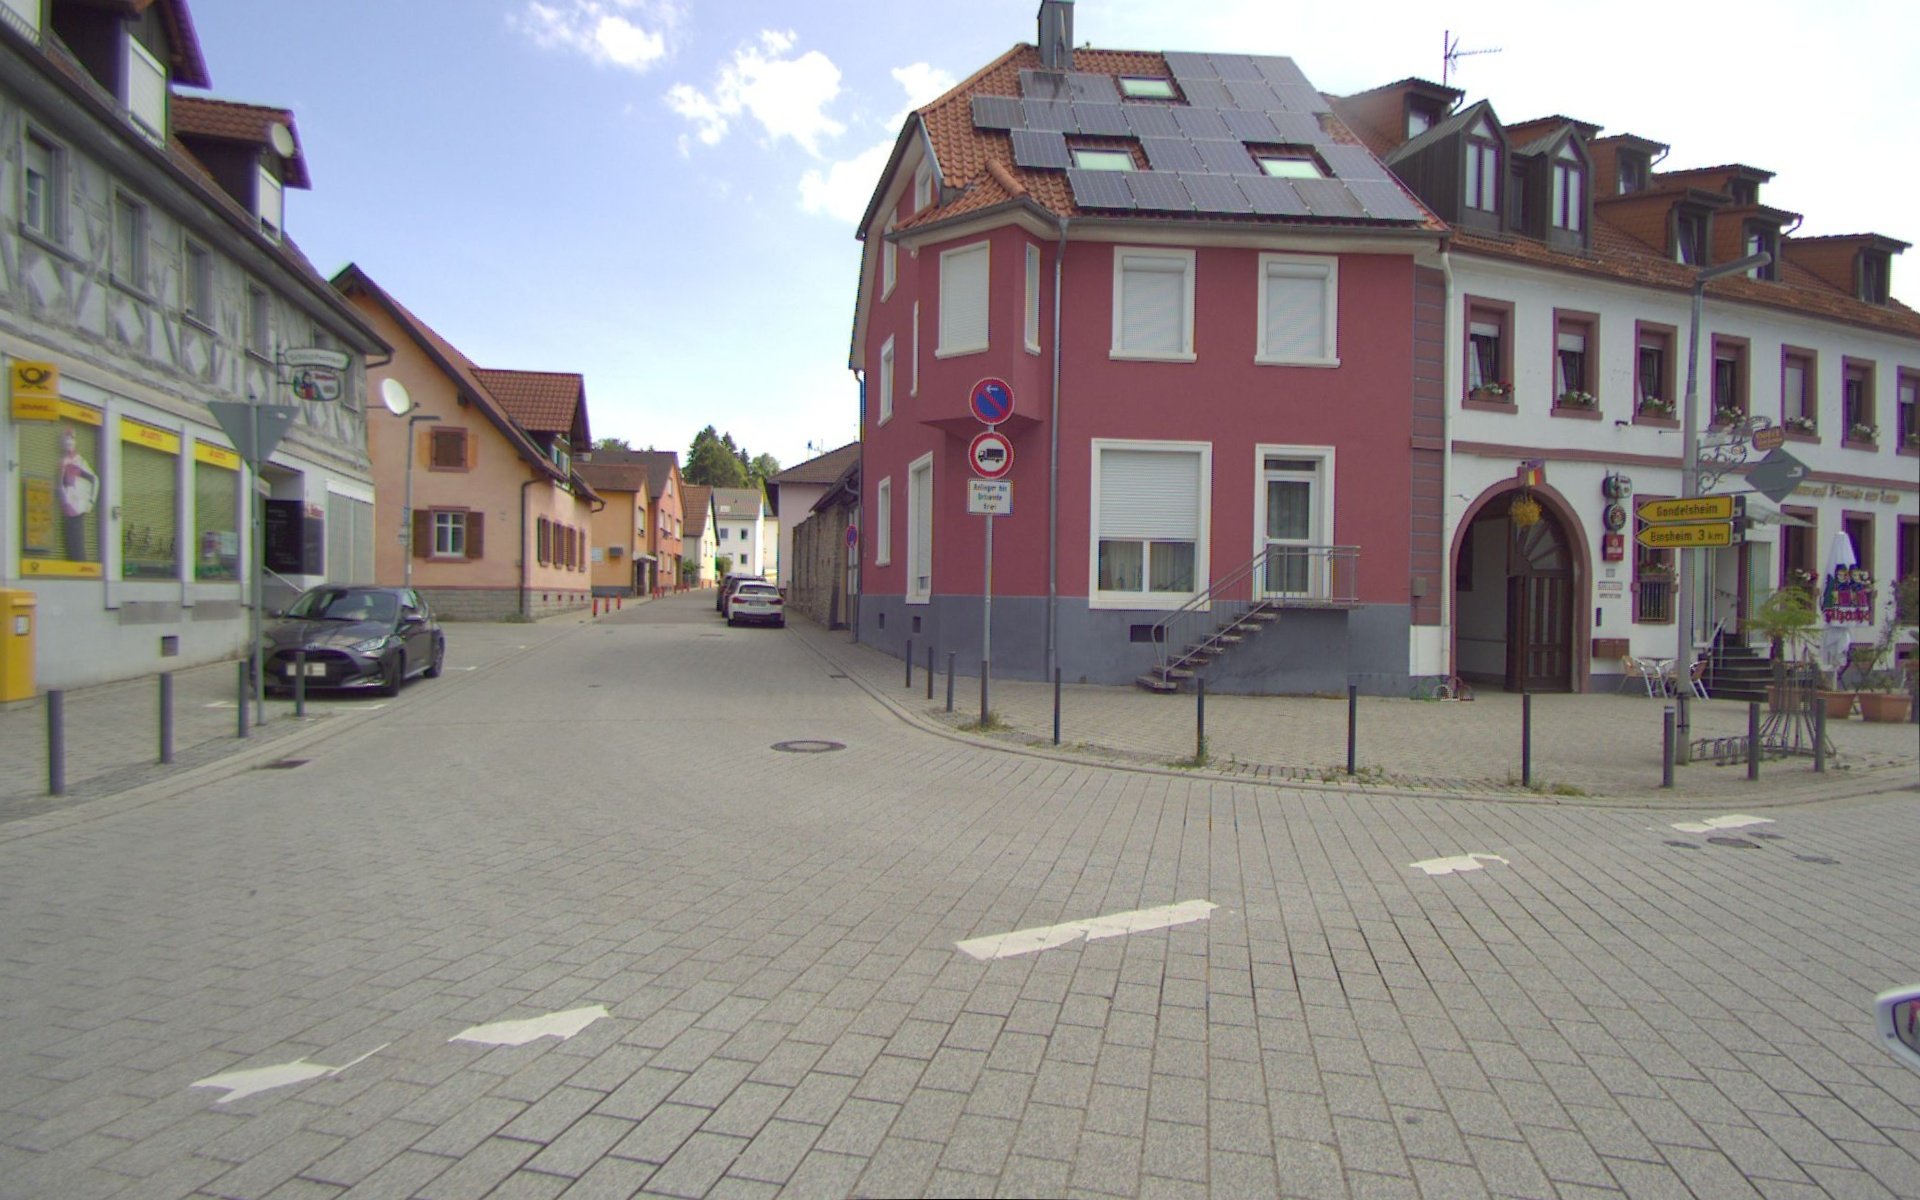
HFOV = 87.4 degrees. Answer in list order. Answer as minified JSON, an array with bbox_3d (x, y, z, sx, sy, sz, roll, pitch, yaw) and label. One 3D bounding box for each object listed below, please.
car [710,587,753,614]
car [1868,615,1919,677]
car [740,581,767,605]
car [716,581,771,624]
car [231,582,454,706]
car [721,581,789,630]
[{"bbox_3d":[-10.282,0.013,45.016,1.573,1.168,3.985,1,0,-17],"label":"car"},{"bbox_3d":[26.397,1.238,26.707,4.217,1.513,1.753,1,3,-25],"label":"car"},{"bbox_3d":[-15.237,-0.493,74.174,1.728,1.728,3.993,1,0,-9],"label":"car"},{"bbox_3d":[-8.634,0.060,39.779,1.765,1.515,3.984,1,2,-17],"label":"car"},{"bbox_3d":[-8.736,0.552,14.601,1.744,1.538,3.940,1,0,-16],"label":"car"},{"bbox_3d":[-6.895,0.166,33.550,1.953,1.538,3.454,1,0,-16],"label":"car"}]
